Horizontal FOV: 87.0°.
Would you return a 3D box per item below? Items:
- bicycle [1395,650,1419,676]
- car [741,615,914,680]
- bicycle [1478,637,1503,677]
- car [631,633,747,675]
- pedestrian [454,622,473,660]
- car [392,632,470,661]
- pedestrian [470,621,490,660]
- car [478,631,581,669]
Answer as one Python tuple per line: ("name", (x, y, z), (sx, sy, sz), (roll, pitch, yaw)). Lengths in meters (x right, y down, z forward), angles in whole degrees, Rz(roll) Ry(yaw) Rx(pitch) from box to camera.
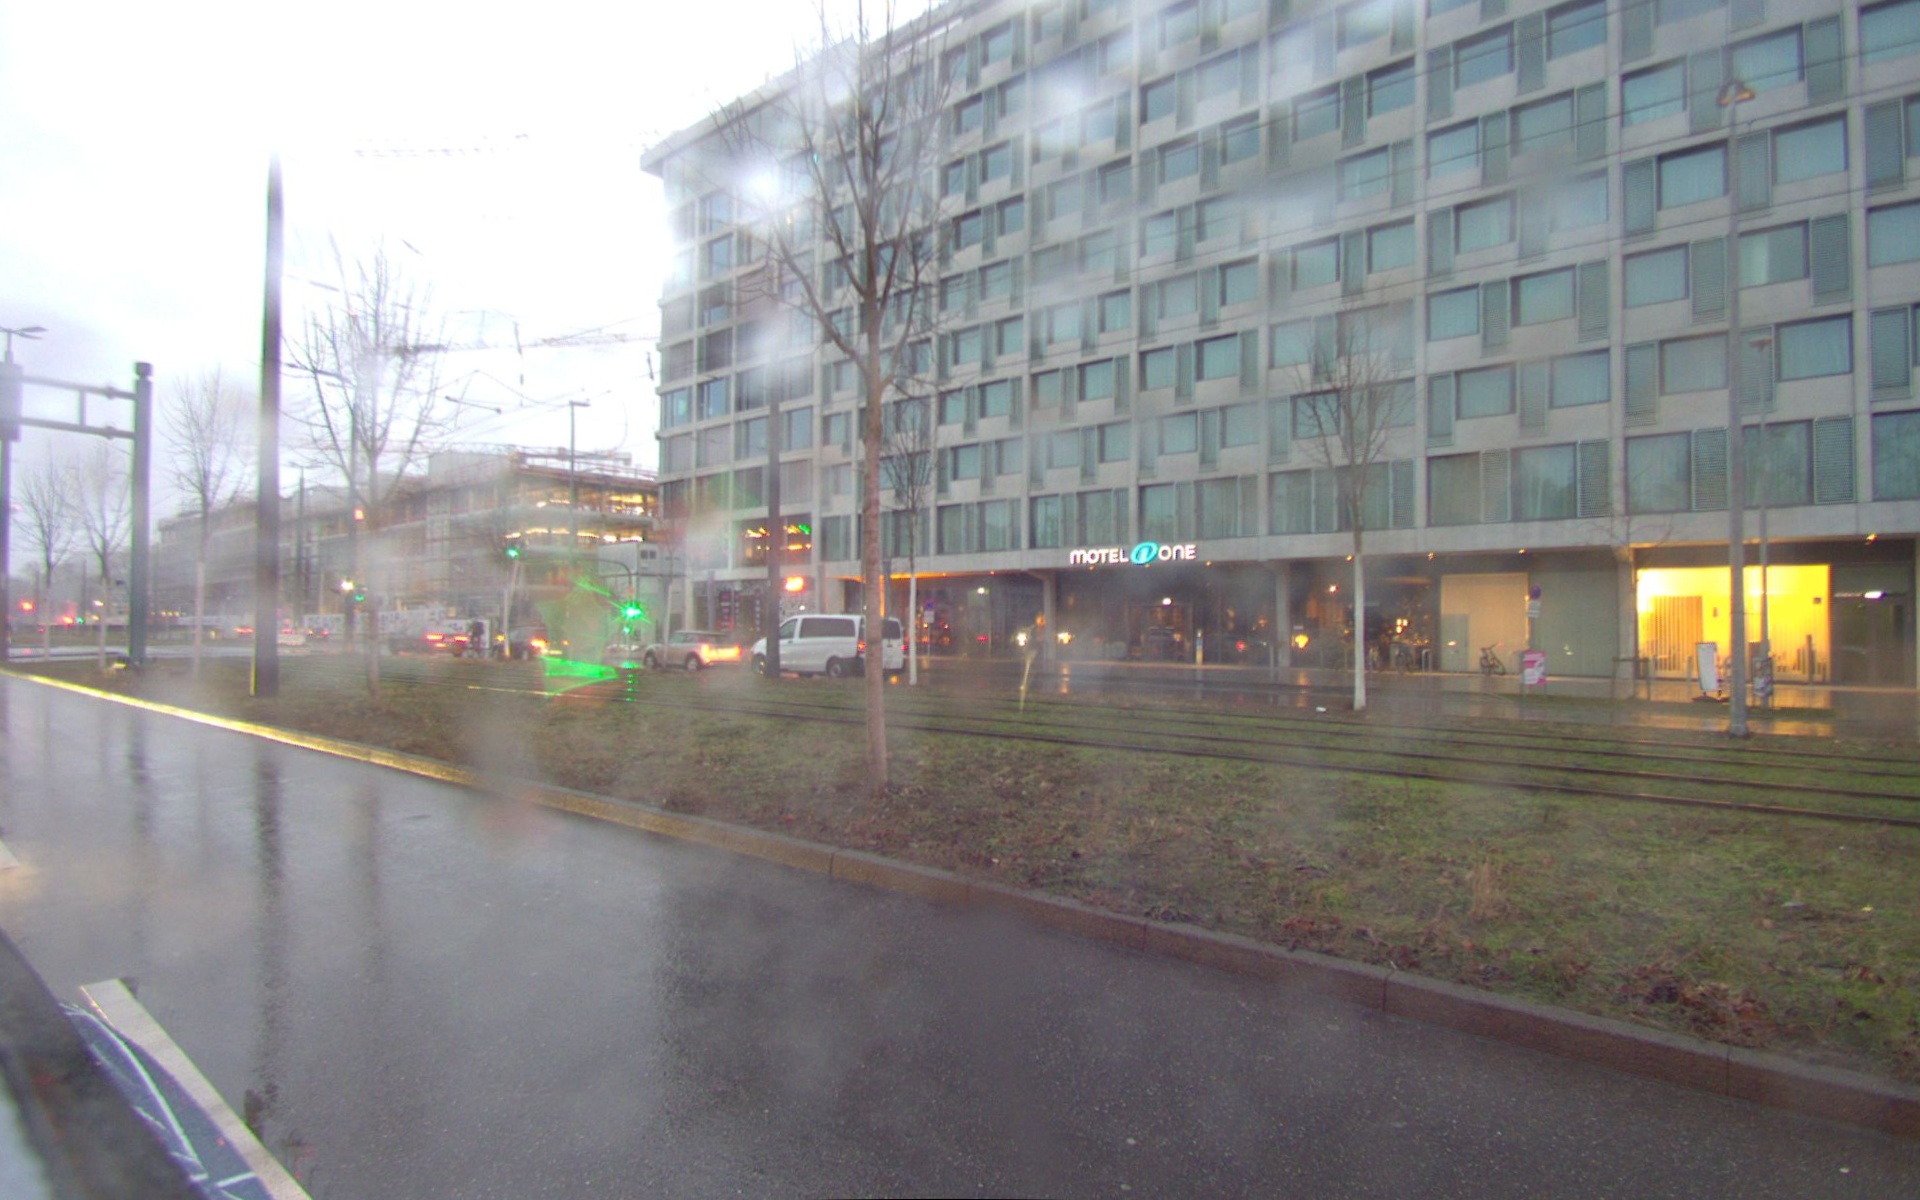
("bicycle", (15.810, 2.220, 35.796), (0.465, 0.860, 1.332), (-1, 0, 39))
("car", (-3.814, 1.300, 28.597), (5.041, 1.682, 2.060), (-1, -3, 41))
("bicycle", (18.083, 1.931, 34.457), (0.465, 1.247, 1.520), (-1, 0, 39))
("car", (-9.004, 1.754, 33.515), (3.998, 1.317, 1.793), (-1, -3, 41))
("pedestrian", (-23.932, 1.970, 48.738), (0.698, 1.818, 0.772), (-1, 0, -34))
("car", (-24.583, 2.114, 46.981), (3.997, 1.284, 1.793), (-1, -3, 40))
("pedestrian", (-23.250, 1.961, 49.037), (0.699, 1.818, 0.771), (-1, 0, -37))
("car", (-17.202, 1.963, 40.353), (4.254, 1.411, 2.084), (-1, -3, 40))
